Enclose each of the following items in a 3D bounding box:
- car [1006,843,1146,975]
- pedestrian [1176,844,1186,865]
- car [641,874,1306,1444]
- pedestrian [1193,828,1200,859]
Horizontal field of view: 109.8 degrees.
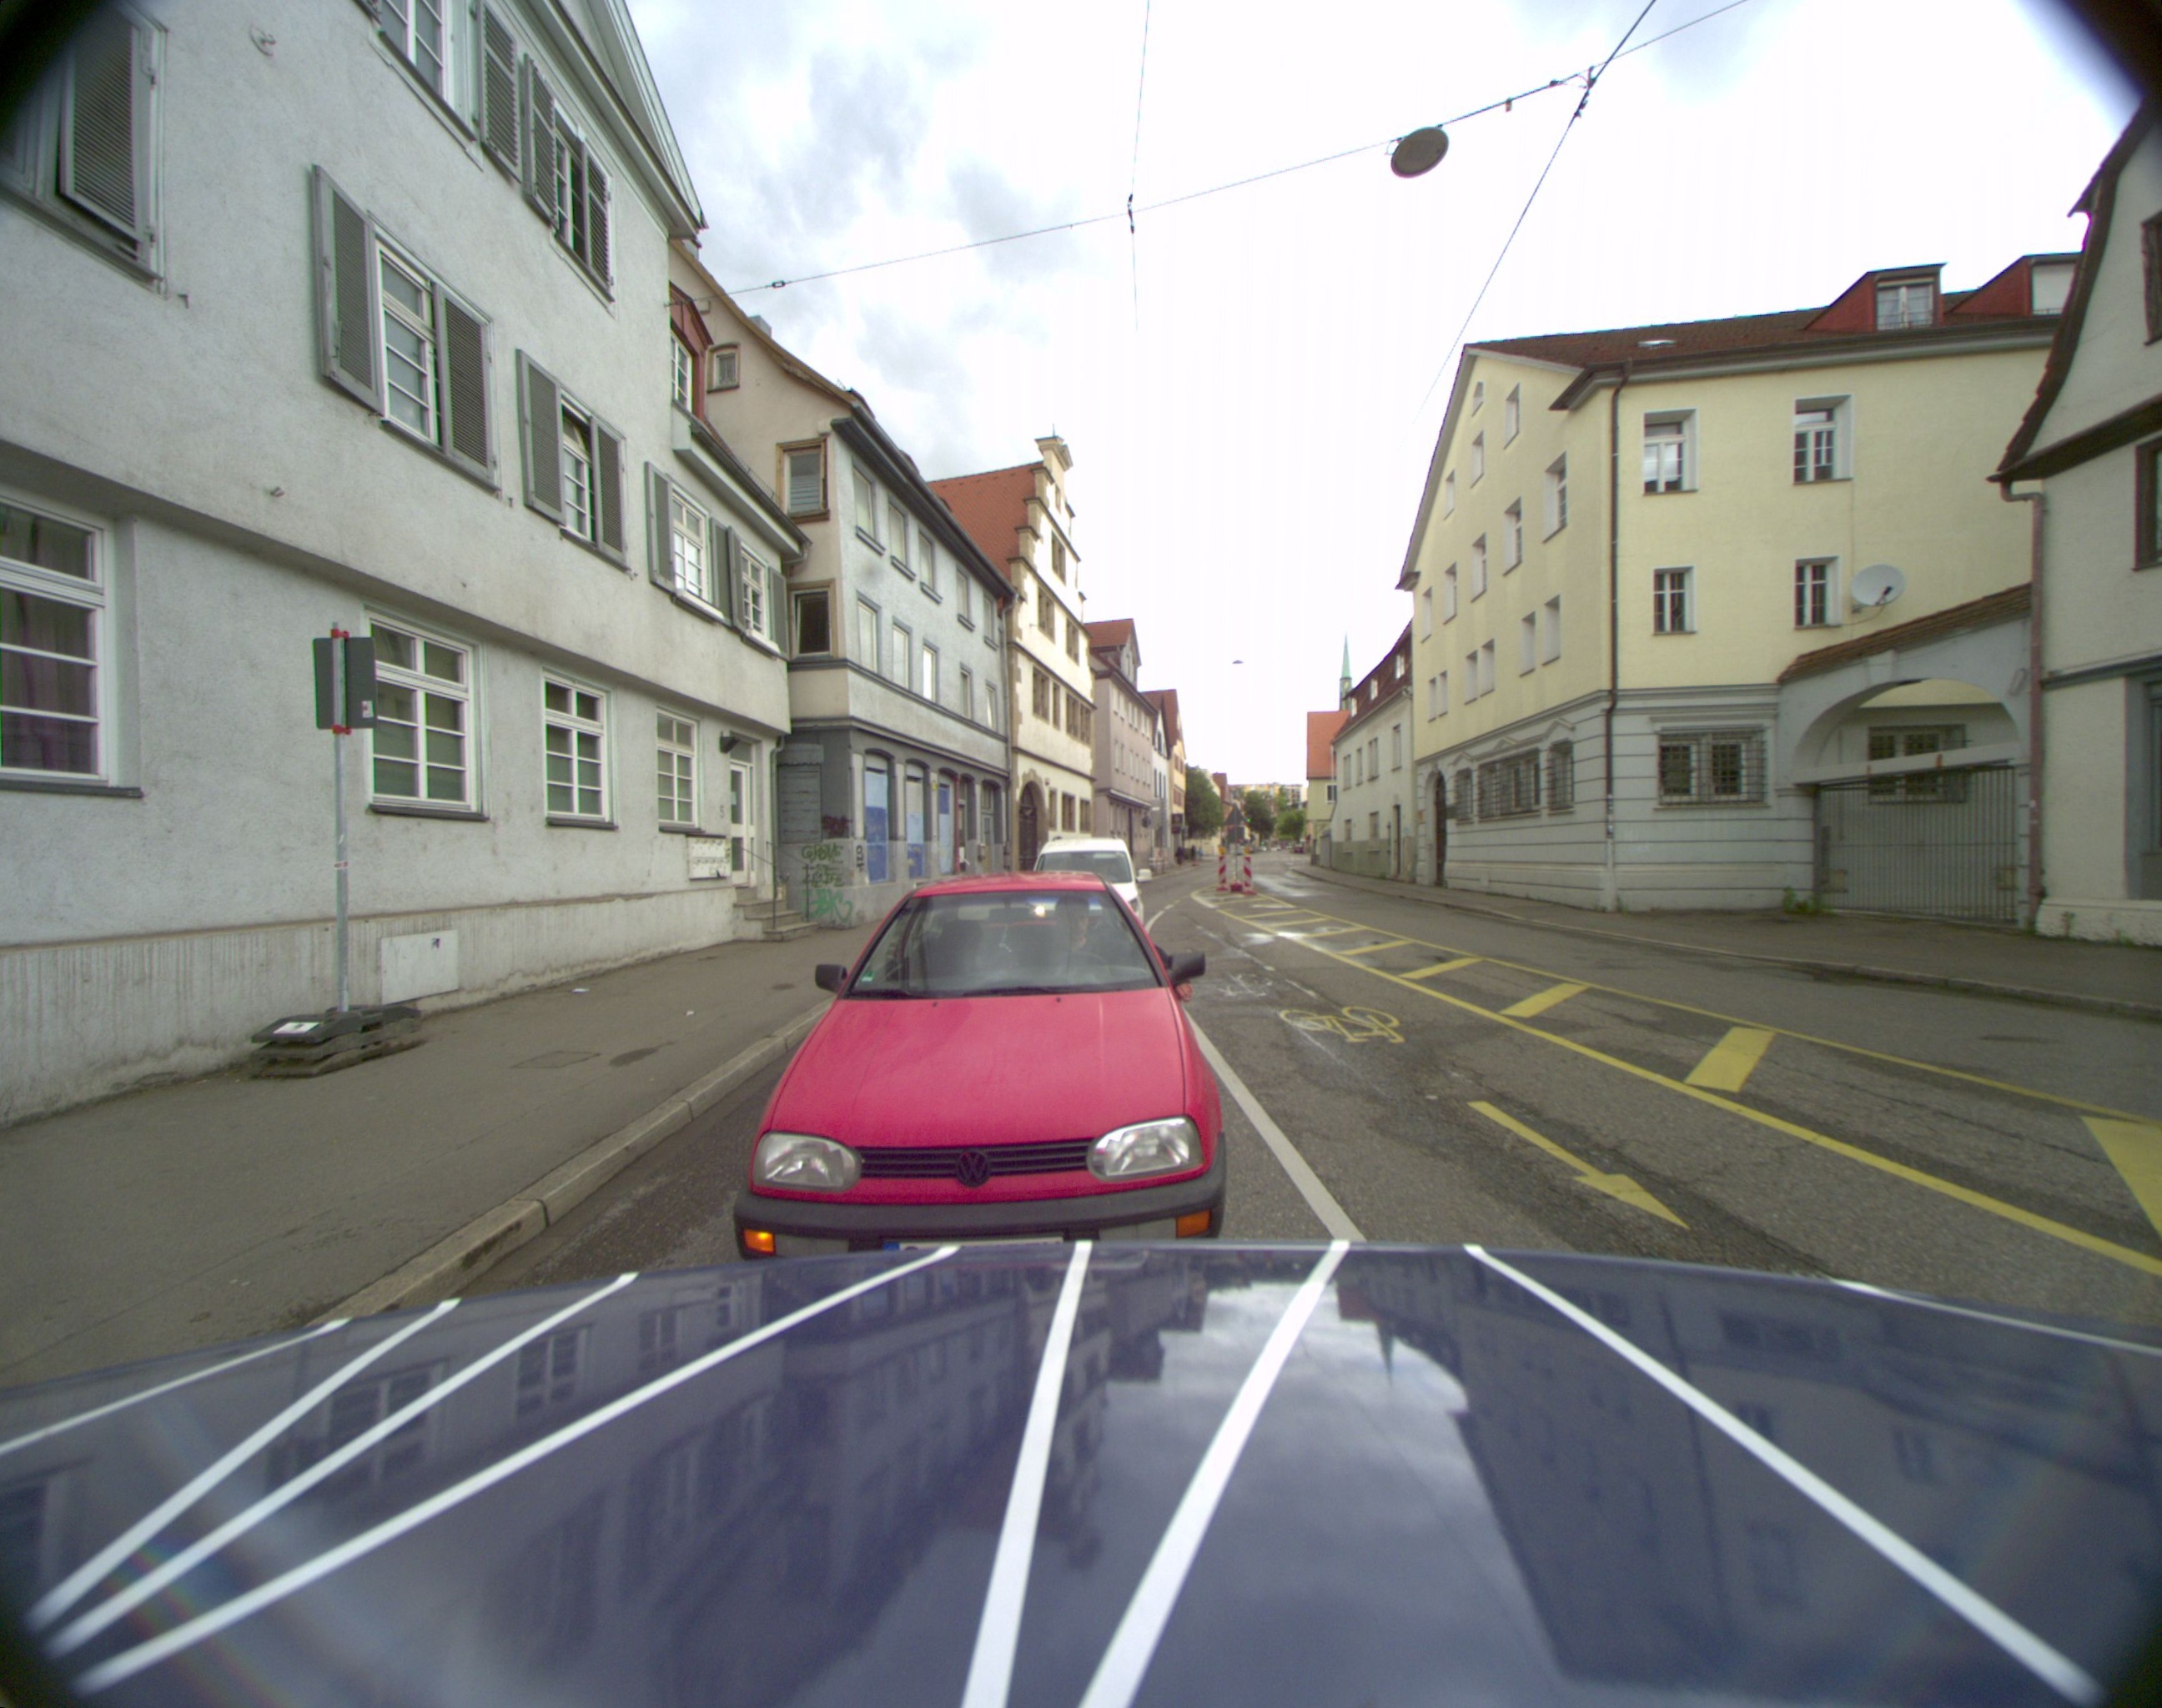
[{"bbox_3d":[0.022,0.695,12.154,1.814,1.695,4.256,-1,1,2],"label":"car"},{"bbox_3d":[7.680,0.064,58.205,0.725,1.604,0.649,-1,0,11],"label":"pedestrian"},{"bbox_3d":[-0.249,0.902,4.087,1.792,1.417,4.000,-2,0,1],"label":"car"},{"bbox_3d":[9.660,-0.866,63.715,0.495,2.513,0.746,-1,1,12],"label":"pedestrian"}]
